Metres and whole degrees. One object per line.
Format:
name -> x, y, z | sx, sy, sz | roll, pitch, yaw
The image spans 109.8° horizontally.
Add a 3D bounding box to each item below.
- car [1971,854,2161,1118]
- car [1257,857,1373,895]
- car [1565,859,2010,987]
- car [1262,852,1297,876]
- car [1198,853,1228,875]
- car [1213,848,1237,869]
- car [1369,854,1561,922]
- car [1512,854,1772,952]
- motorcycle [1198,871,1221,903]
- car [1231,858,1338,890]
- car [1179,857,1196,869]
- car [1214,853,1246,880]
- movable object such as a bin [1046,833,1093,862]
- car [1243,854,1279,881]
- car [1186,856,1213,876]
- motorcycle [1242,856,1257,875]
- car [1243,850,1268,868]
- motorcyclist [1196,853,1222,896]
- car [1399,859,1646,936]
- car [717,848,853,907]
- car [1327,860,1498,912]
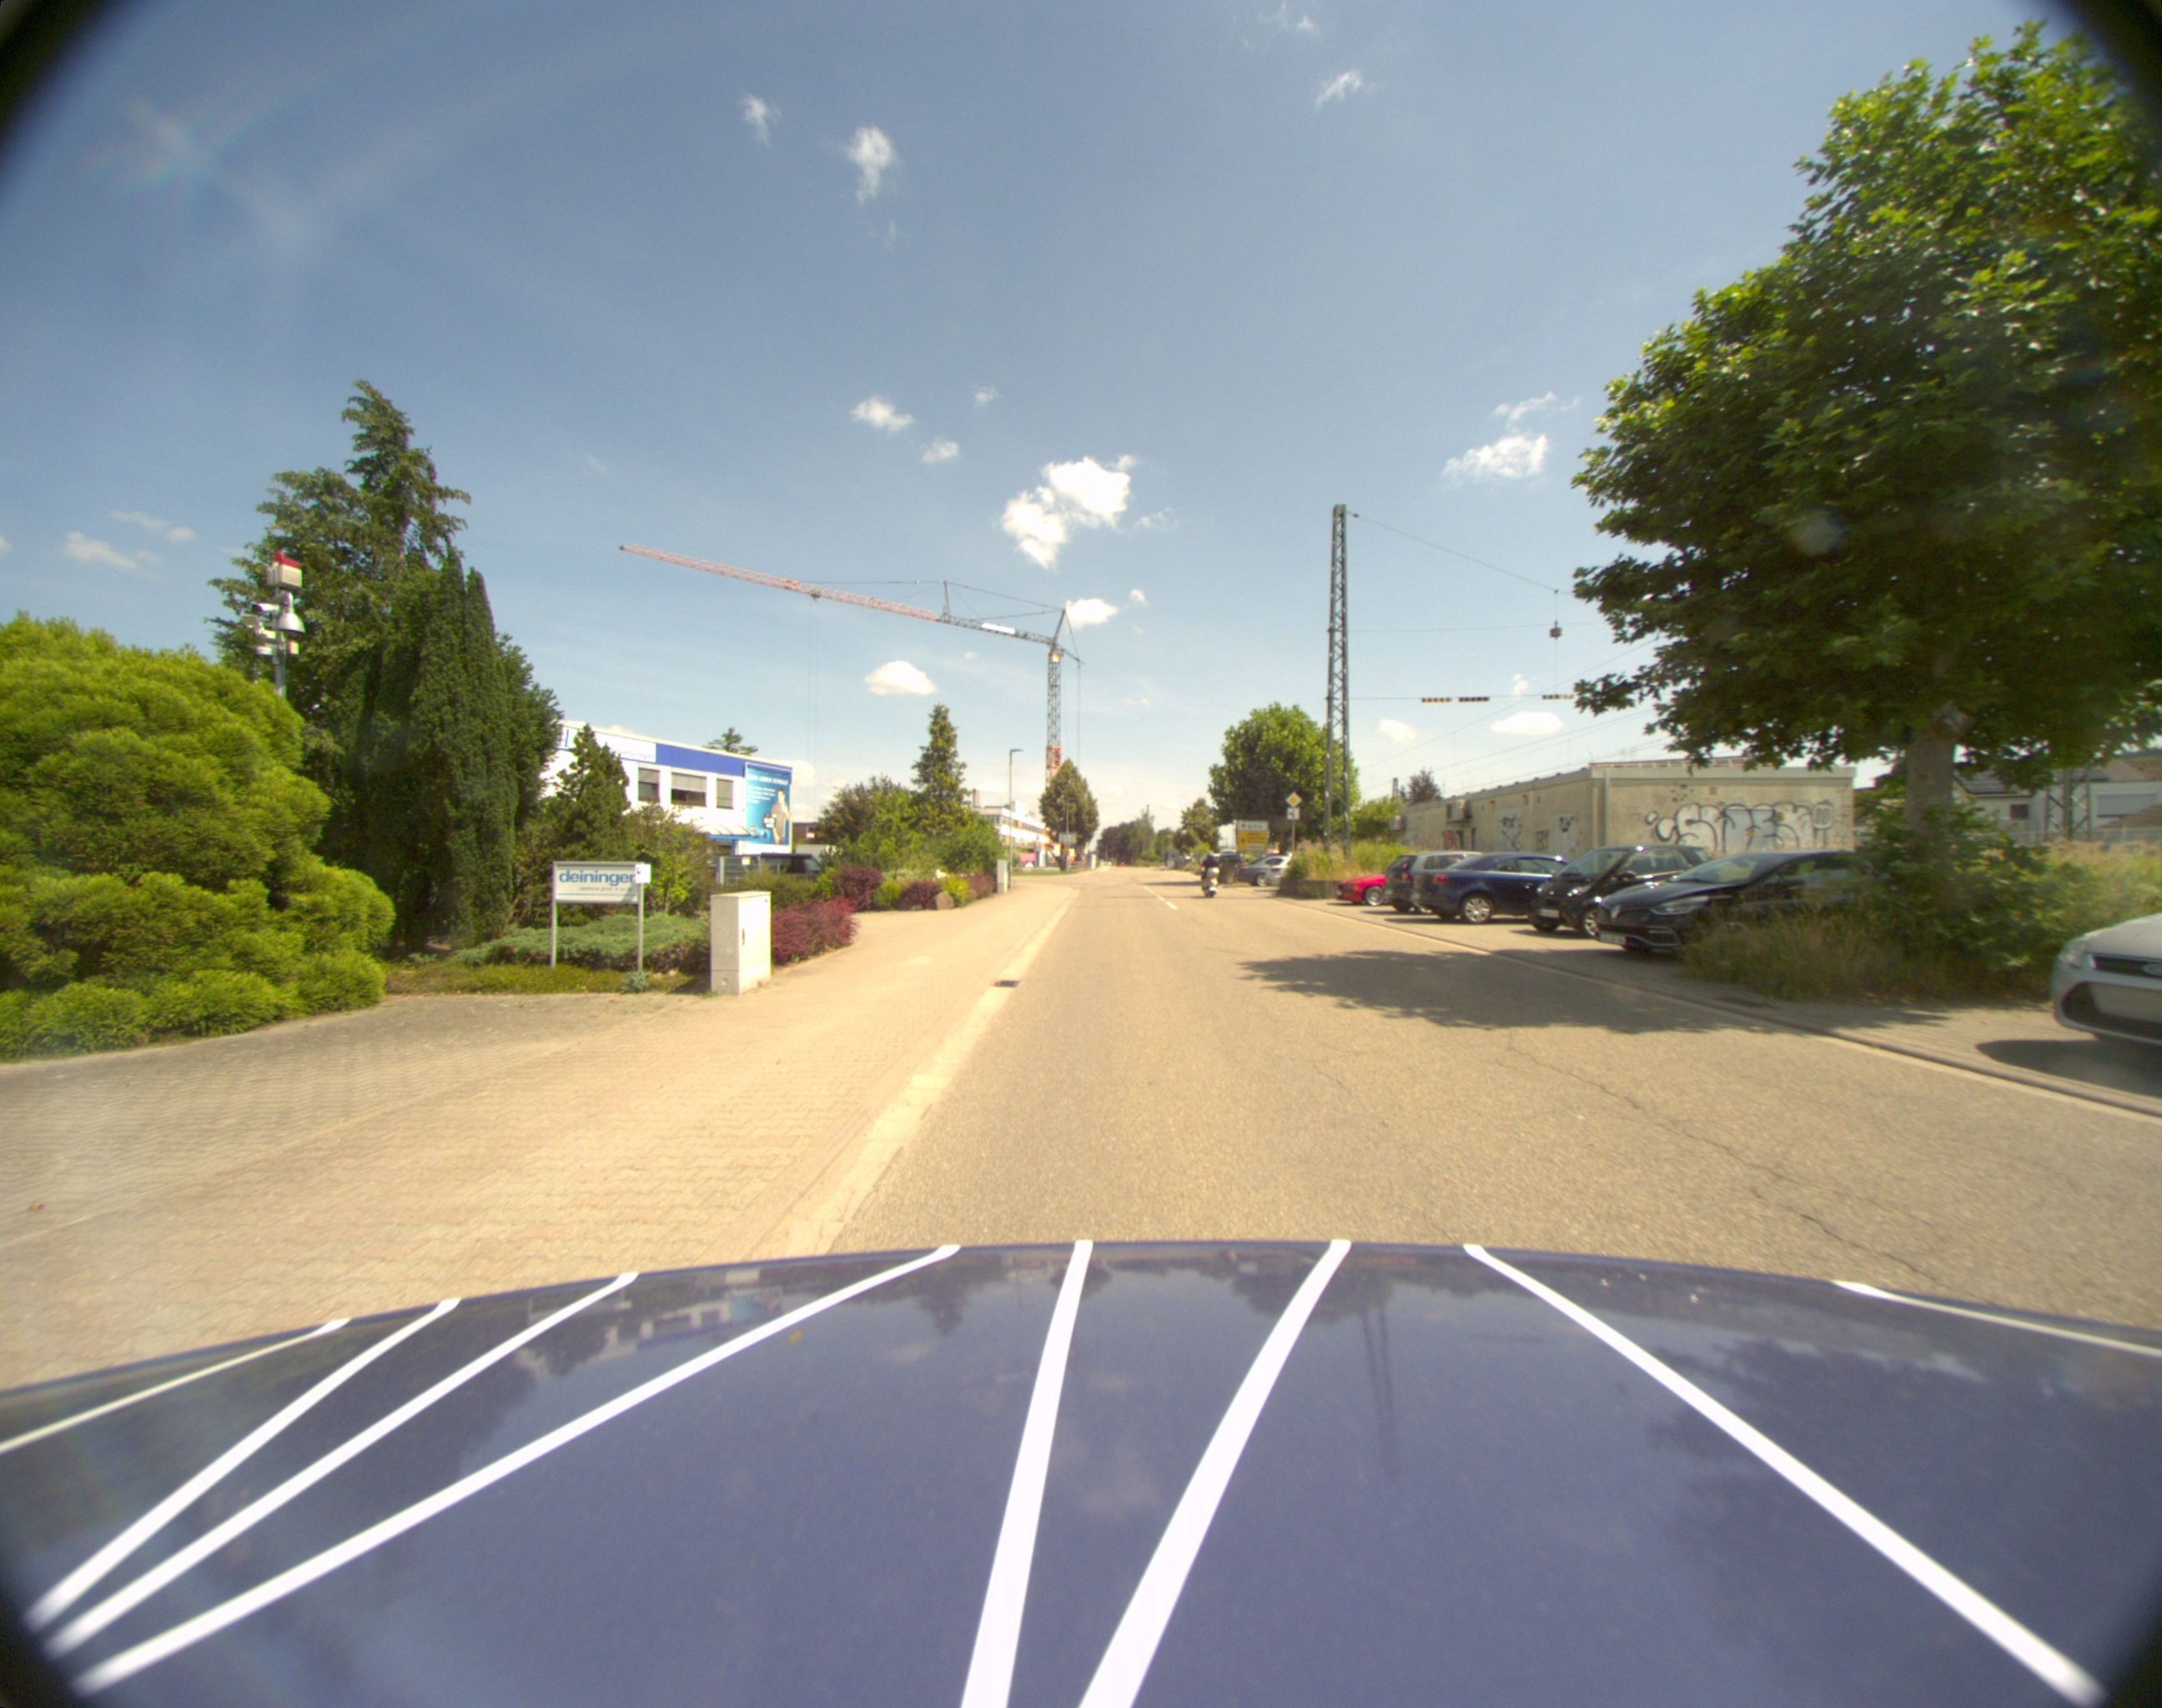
car -> 8.442, 0.749, 4.347 | 4.348, 1.524, 1.926 | -1, 0, 2
car -> 9.272, 0.860, 30.378 | 4.083, 1.394, 1.787 | -1, 0, 0
car -> 8.992, 0.828, 9.984 | 4.082, 1.464, 1.787 | 0, 0, 3
car -> 14.453, 0.738, 55.412 | 1.997, 1.648, 4.265 | 1, 0, 9
car -> 9.573, 0.699, 55.293 | 1.807, 1.555, 4.264 | 1, 0, 5
car -> 13.427, 0.403, 71.062 | 1.952, 1.822, 3.837 | 1, 0, 8
car -> 9.021, 0.772, 18.061 | 3.675, 1.439, 1.684 | -1, 0, 0
car -> 9.367, 0.784, 12.872 | 3.196, 1.529, 1.602 | 0, 1, 0
motorcycle -> 4.573, 1.144, 27.114 | 0.464, 1.044, 1.955 | 0, 1, 0
car -> 9.340, 0.891, 35.064 | 4.437, 1.402, 1.787 | 1, 0, 0
car -> 12.423, 1.020, 88.876 | 1.607, 1.341, 4.001 | 0, 0, 4
car -> 8.815, 0.719, 45.280 | 1.688, 1.521, 4.065 | 1, 0, 9
movable object such as a bin -> -1.439, -0.788, 90.716 | 5.132, 3.276, 2.390 | 0, 6, -14
car -> 10.661, 0.745, 45.119 | 1.794, 1.528, 3.581 | 1, 0, 9
car -> 9.723, 0.933, 62.476 | 1.794, 1.535, 3.961 | 1, 0, 3
motorcycle -> 12.257, 0.803, 55.273 | 0.739, 1.365, 3.215 | 1, 0, 7
car -> 16.647, 0.452, 72.665 | 1.952, 1.599, 4.275 | 1, 0, 8
motorcyclist -> 4.572, 0.731, 27.148 | 0.777, 1.500, 0.921 | 0, 1, 0
car -> 8.808, 0.832, 15.470 | 3.953, 1.442, 1.787 | 0, 0, 7
car -> -10.597, 0.764, 27.636 | 1.899, 1.788, 4.797 | 2, 2, 20
car -> 9.226, 0.879, 21.378 | 4.082, 1.360, 1.674 | -1, -1, 3
